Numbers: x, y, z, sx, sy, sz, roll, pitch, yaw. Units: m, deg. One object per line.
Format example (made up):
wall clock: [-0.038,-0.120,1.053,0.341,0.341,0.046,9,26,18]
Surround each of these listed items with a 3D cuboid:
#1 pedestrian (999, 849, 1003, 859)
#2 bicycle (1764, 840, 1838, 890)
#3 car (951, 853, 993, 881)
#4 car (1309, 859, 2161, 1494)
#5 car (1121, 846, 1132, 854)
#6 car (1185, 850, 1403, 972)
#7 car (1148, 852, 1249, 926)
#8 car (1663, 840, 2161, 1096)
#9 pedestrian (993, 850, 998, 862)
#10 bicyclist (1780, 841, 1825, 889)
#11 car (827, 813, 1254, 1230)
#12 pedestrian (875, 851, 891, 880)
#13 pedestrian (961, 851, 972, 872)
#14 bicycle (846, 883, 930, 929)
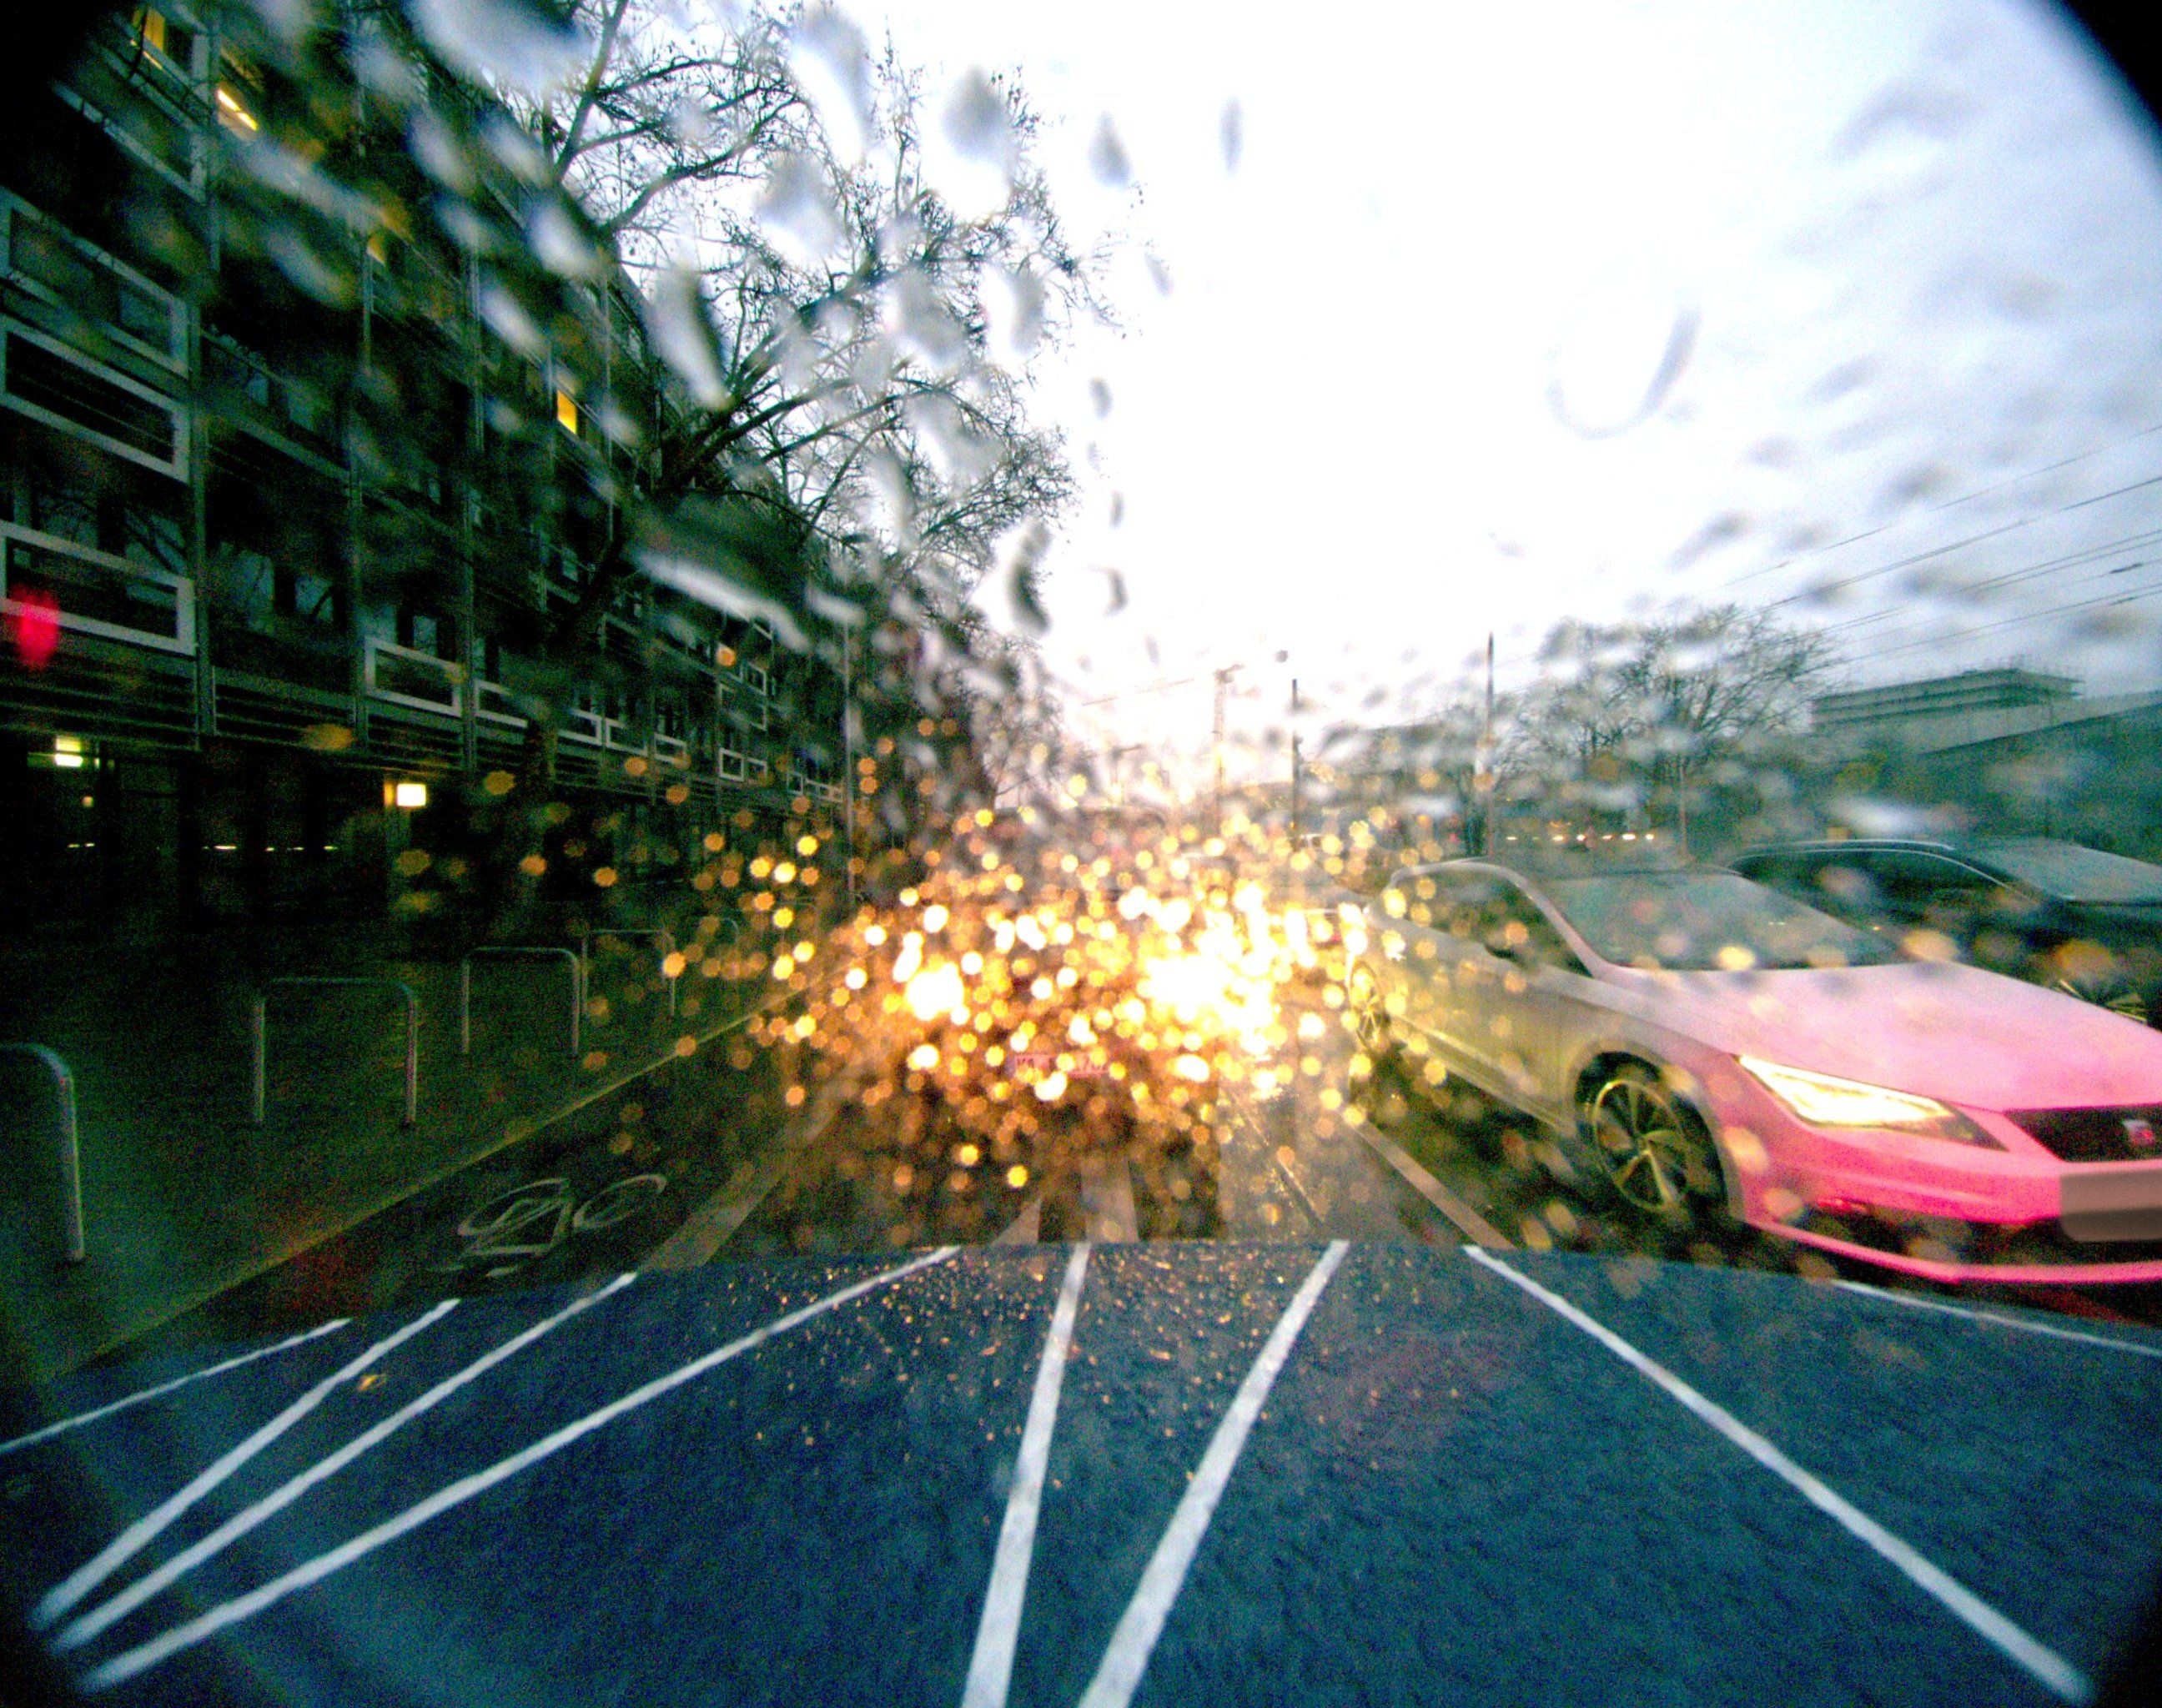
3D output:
pedestrian: [-15.069,0.010,143.102,0.766,1.740,0.928,0,1,-4]
bicycle: [26.923,0.378,28.468,0.763,1.723,2.063,-2,2,-2]
car: [-6.176,0.708,43.450,1.713,1.455,3.999,-2,1,1]
car: [3.002,0.835,4.205,1.949,1.478,4.504,-2,0,-2]
car: [11.729,-1.070,196.347,2.095,1.884,3.997,-1,1,-7]
car: [2.947,0.695,11.650,1.999,1.478,4.504,-1,0,-1]
car: [2.837,0.788,19.188,1.907,1.565,3.999,-2,1,1]
car: [7.354,0.659,6.020,1.853,1.499,4.662,-1,1,-1]
pedestrian: [-12.239,0.329,108.843,0.766,1.740,0.928,0,1,-4]
bicyclist: [26.927,0.379,28.361,0.763,1.723,0.961,-2,2,-2]
car: [-0.242,0.740,5.468,1.878,1.830,3.999,-2,1,-2]
pedestrian: [-12.307,0.700,47.280,0.766,1.740,0.928,0,1,-4]
pedestrian: [-9.564,0.655,63.458,0.766,1.740,0.928,0,1,-4]
bicycle: [-4.468,1.200,17.691,1.704,0.987,0.879,1,1,0]
